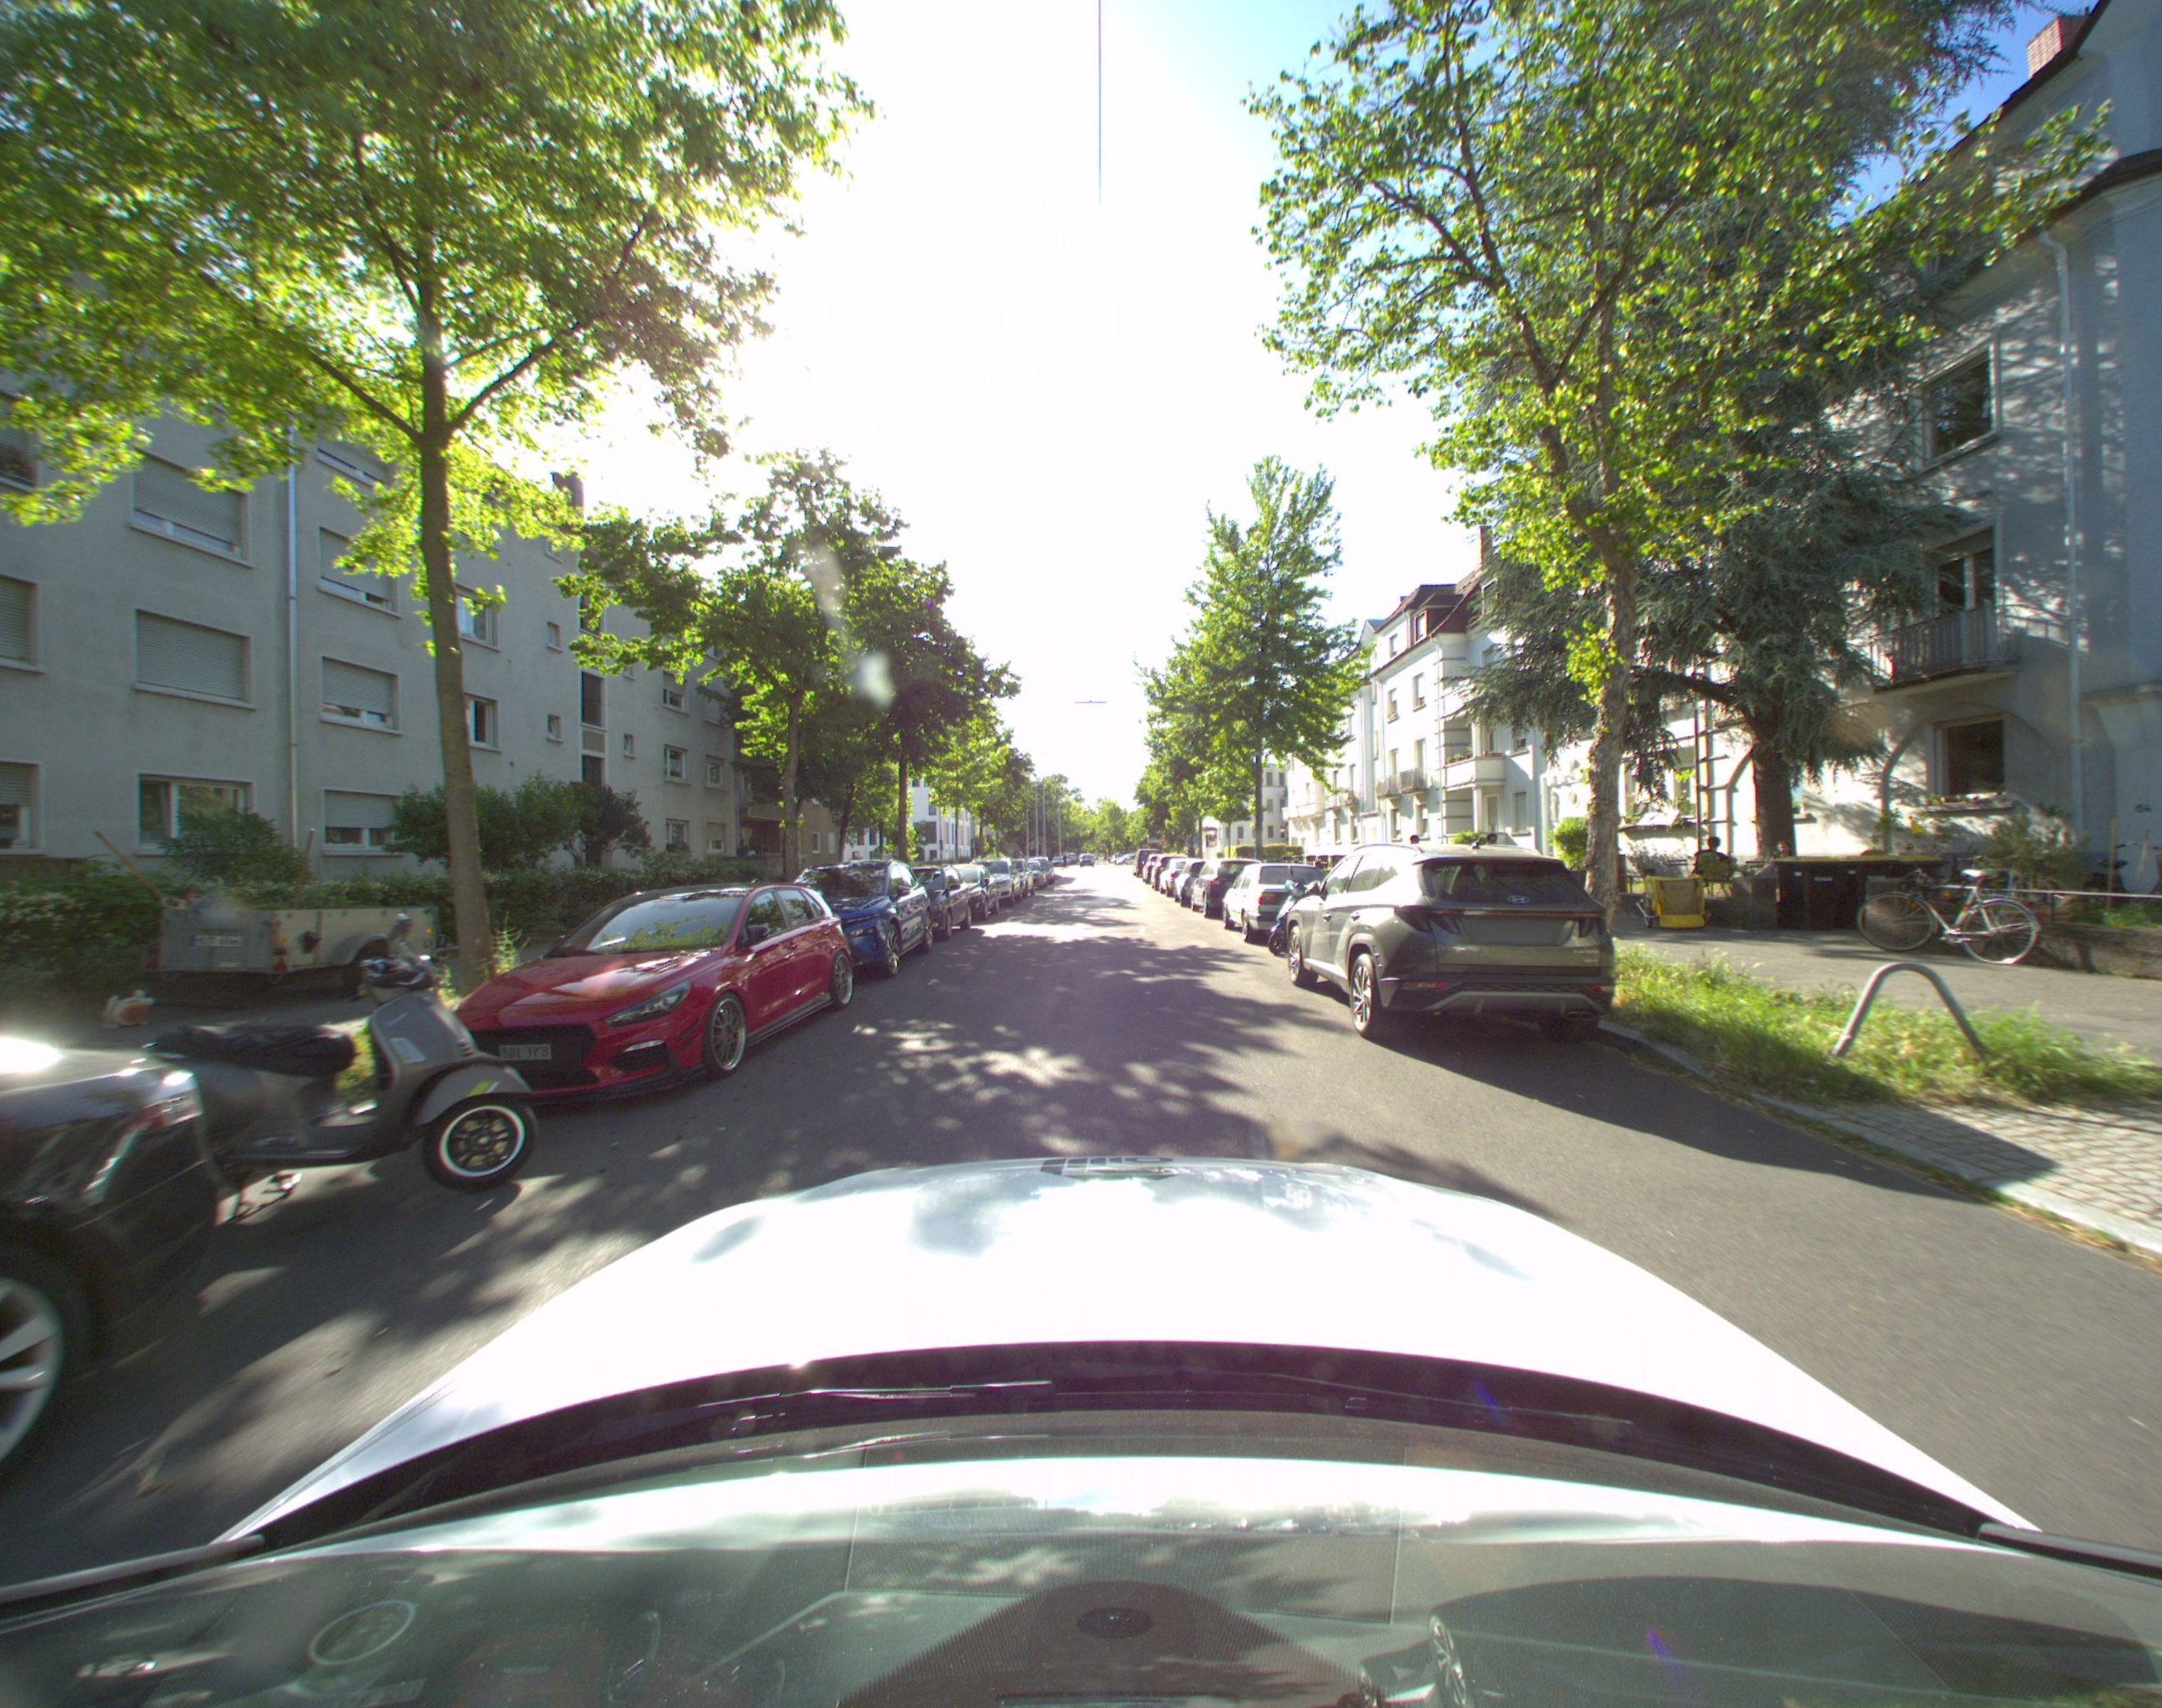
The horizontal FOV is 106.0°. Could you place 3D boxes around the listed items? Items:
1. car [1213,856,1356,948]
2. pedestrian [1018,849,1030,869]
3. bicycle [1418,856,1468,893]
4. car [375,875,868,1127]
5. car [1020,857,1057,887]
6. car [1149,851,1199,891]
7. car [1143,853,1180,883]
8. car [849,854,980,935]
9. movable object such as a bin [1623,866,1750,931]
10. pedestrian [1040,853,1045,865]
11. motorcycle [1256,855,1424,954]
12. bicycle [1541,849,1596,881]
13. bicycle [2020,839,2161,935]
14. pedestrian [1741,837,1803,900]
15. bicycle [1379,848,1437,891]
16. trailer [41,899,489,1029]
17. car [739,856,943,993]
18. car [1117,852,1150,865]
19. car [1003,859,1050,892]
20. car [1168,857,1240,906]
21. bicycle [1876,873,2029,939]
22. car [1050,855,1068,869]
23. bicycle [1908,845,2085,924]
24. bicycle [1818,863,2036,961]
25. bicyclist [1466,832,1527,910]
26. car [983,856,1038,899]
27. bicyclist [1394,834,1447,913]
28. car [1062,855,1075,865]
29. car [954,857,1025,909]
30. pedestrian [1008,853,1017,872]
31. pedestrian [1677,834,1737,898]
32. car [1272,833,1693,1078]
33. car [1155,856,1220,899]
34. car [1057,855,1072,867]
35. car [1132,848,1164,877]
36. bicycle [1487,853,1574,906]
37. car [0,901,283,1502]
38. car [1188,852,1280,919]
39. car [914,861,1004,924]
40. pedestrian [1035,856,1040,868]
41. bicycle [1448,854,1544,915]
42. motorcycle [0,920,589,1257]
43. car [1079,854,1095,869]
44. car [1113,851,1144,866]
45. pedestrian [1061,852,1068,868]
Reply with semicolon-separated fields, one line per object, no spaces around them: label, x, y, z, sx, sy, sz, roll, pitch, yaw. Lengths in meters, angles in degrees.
car;3.713;0.799;15.641;1.744;1.454;4.463;1;0;2
pedestrian;-5.634;0.489;80.291;0.854;2.013;0.984;-2;0;10
bicycle;10.123;0.562;22.844;0.593;0.957;1.904;-2;0;1
car;-3.436;0.975;7.226;1.773;1.379;4.264;-3;0;2
car;-2.476;1.002;48.180;1.833;1.595;4.262;-3;0;1
car;4.241;0.734;37.838;1.900;1.699;4.314;1;0;1
car;4.500;0.733;46.104;1.827;1.600;4.160;1;0;2
car;-3.419;0.771;17.518;1.823;1.453;4.123;-3;0;1
movable object such as a bin;9.501;0.679;12.881;1.211;0.905;1.673;-2;0;22
pedestrian;-6.423;0.812;135.427;0.858;2.013;0.979;-2;0;-6
motorcycle;3.972;0.761;12.598;2.344;1.423;0.687;-1;0;0
bicycle;16.711;0.375;27.922;1.577;0.971;0.474;-4;0;-6
bicycle;12.870;0.386;9.987;1.888;1.100;0.584;-2;0;4
pedestrian;12.918;0.267;15.247;0.508;1.142;0.755;-1;-1;0
bicycle;10.097;0.469;25.246;0.836;1.257;2.229;-1;0;-2
trailer;-9.054;1.153;9.473;1.781;1.034;3.284;-1;0;3
car;-3.363;0.880;12.378;1.784;1.566;4.462;-4;0;-2
car;6.467;0.551;100.666;3.978;1.587;1.725;-2;0;-3
car;-2.772;1.061;42.111;1.987;1.453;4.262;-4;0;1
car;3.850;0.817;26.007;1.782;1.453;3.782;0;0;1
bicycle;10.991;0.651;10.296;1.356;0.756;0.472;-2;0;4
car;-2.789;0.978;102.334;1.986;1.671;4.001;-2;0;1
bicycle;13.793;0.447;12.305;1.888;1.100;0.584;-2;0;4
bicycle;9.605;0.611;9.372;0.579;0.975;1.905;-2;0;3
bicyclist;8.600;0.341;16.877;0.674;1.553;1.021;-2;0;-2
car;-2.828;0.921;33.398;1.704;1.544;3.932;-4;0;2
bicyclist;7.186;0.402;17.265;0.675;1.609;0.921;-2;0;-2
car;-2.079;0.992;139.412;1.986;1.585;4.001;-2;0;1
car;-3.049;0.922;27.979;1.805;1.596;4.234;-2;0;1
pedestrian;-7.570;0.913;89.999;0.856;2.013;0.981;-2;0;-1
pedestrian;11.403;0.218;14.854;0.507;1.142;0.756;-1;-1;3
car;3.344;0.681;8.127;1.918;1.651;5.099;0;0;3
car;4.032;0.859;31.571;1.891;1.474;4.699;1;0;0
car;-2.372;1.016;117.621;1.986;1.585;4.001;-2;0;1
car;4.754;0.585;58.333;1.964;1.949;4.986;-1;0;1
bicycle;10.046;0.552;18.296;0.801;1.115;1.999;-1;0;-1
car;-3.687;0.967;0.458;1.722;1.477;4.621;-5;0;2
car;3.864;0.731;21.283;1.686;1.540;4.443;0;0;2
car;-3.229;0.989;22.262;1.756;1.443;3.909;-3;0;1
pedestrian;-7.074;1.322;131.914;0.761;1.900;0.817;-2;0;-5
bicycle;8.601;0.601;17.018;0.682;1.153;2.401;-2;0;-2
motorcycle;-3.922;1.071;4.089;2.285;1.270;0.806;-3;0;-9
car;0.640;0.884;94.865;1.777;1.609;3.999;-2;0;-1
car;6.156;0.592;105.891;3.976;1.805;1.888;-2;0;-2
pedestrian;-1.942;0.720;95.935;0.715;1.900;0.834;-2;0;-9
